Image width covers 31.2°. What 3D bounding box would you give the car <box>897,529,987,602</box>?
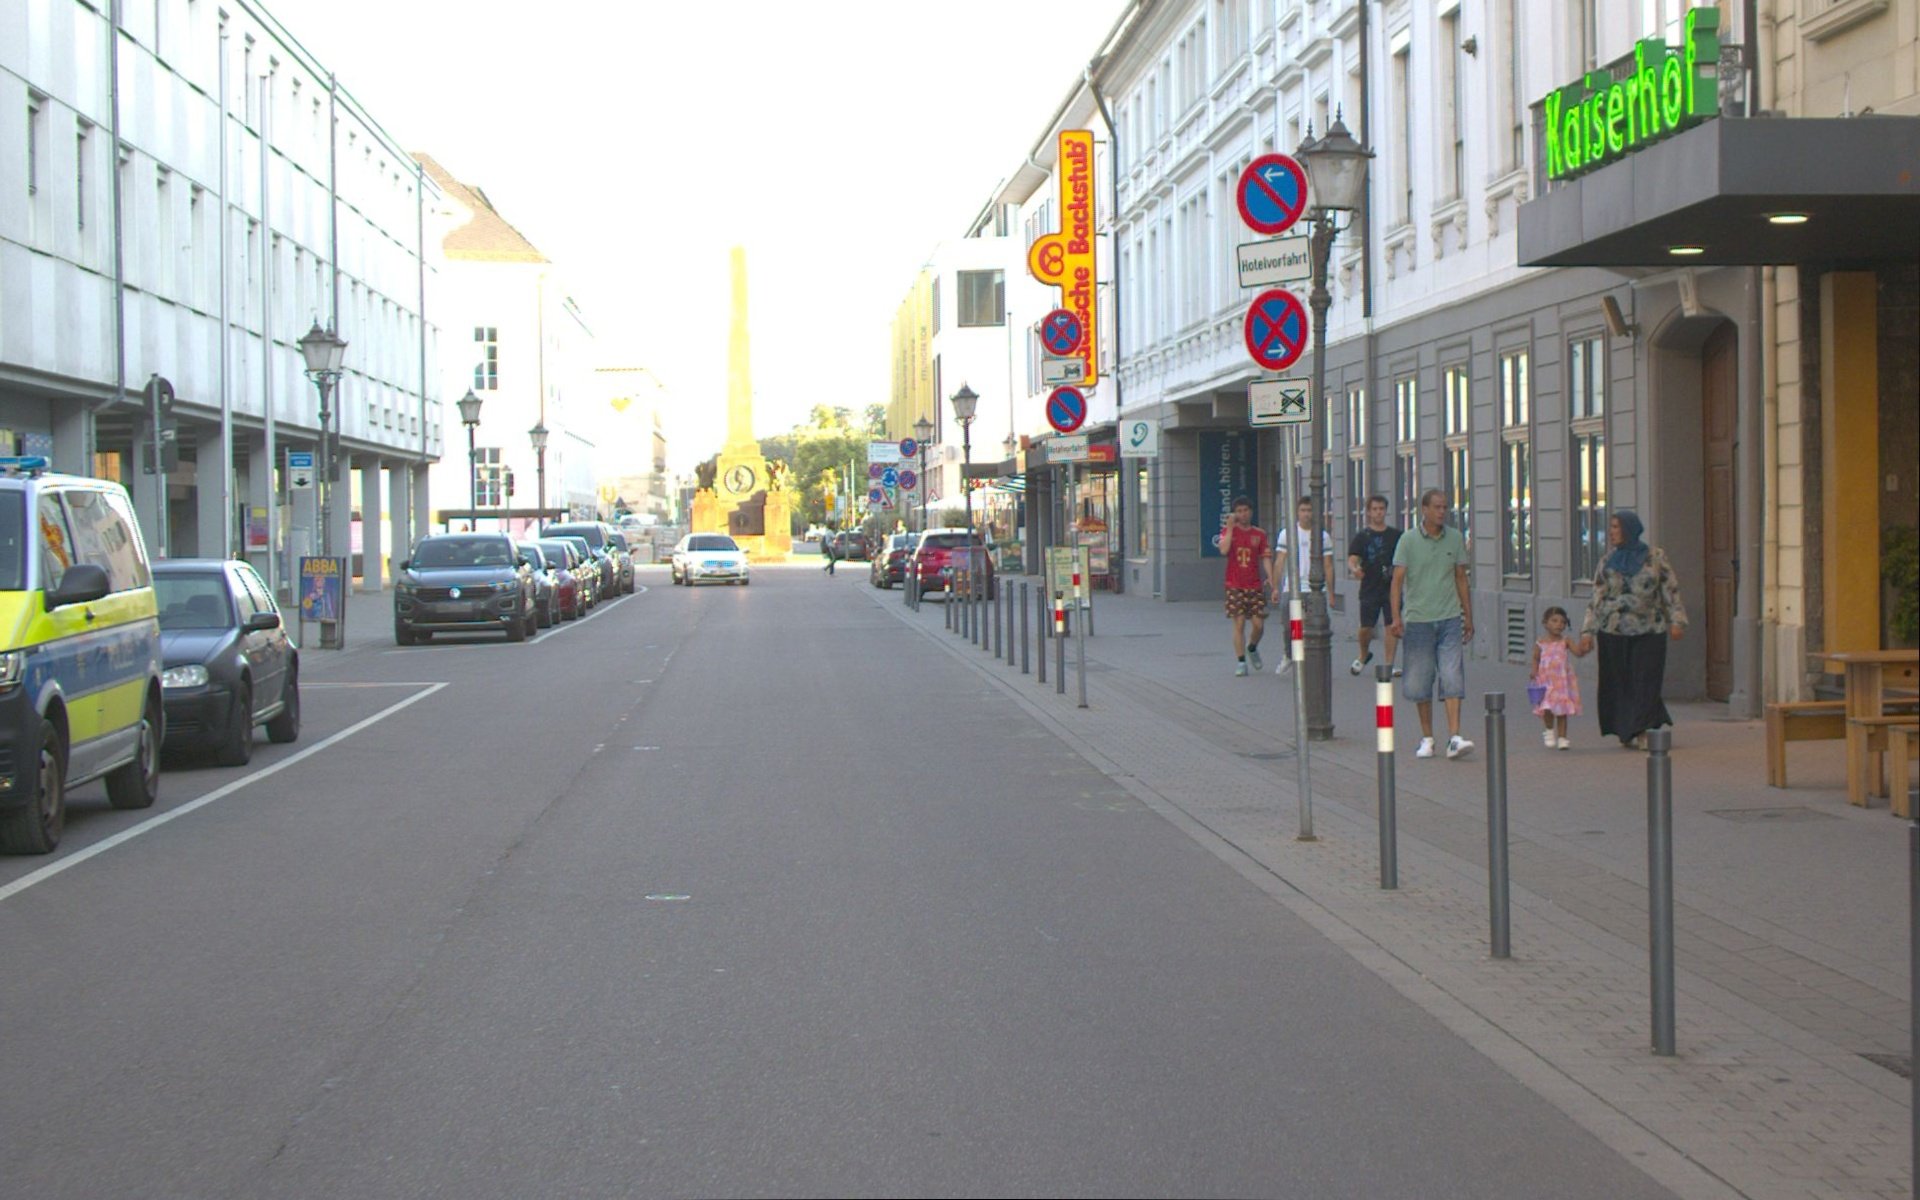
[{"bbox_3d":[-0.409,-0.755,73.735,1.759,1.518,3.678,-1,1,-3],"label":"car"}]

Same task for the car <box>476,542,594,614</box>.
[{"bbox_3d":[-8.367,-0.449,67.959,1.993,1.349,4.001,-1,1,-3],"label":"car"}]

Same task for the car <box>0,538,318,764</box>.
[{"bbox_3d":[-6.028,0.317,25.210,1.993,1.489,4.165,-1,1,-3],"label":"car"}]

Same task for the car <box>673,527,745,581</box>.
[{"bbox_3d":[-6.864,-1.276,94.357,1.785,1.404,4.089,-1,1,-2],"label":"car"}]

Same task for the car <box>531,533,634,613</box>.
[{"bbox_3d":[-8.653,-0.646,79.102,1.993,1.722,4.516,-2,1,-3],"label":"car"}]

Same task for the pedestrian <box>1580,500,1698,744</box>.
[{"bbox_3d":[4.517,0.140,22.881,0.630,1.595,0.615,-1,1,-2],"label":"pedestrian"}]

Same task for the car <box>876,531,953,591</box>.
[{"bbox_3d":[-1.174,-1.015,87.424,1.801,1.459,4.118,-1,1,-3],"label":"car"}]

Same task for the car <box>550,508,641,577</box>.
[{"bbox_3d":[-9.043,-1.445,85.567,1.993,1.656,4.001,-1,1,-3],"label":"car"}]

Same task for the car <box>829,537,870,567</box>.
[{"bbox_3d":[-5.432,-2.366,169.123,1.993,1.459,4.000,-1,1,-2],"label":"car"}]

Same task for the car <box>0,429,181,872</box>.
[{"bbox_3d":[-5.568,0.234,18.501,1.993,2.070,4.991,-1,1,-5],"label":"car"}]

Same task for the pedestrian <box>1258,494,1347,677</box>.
[{"bbox_3d":[3.292,-0.147,33.102,0.748,1.724,0.881,-1,1,0],"label":"pedestrian"}]

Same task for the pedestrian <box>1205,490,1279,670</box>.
[{"bbox_3d":[2.839,-0.211,34.615,0.620,1.783,0.913,-1,1,-2],"label":"pedestrian"}]

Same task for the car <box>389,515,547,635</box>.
[{"bbox_3d":[-7.015,-0.390,49.386,1.785,1.609,4.166,-1,1,-2],"label":"car"}]

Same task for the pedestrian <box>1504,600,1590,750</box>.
[{"bbox_3d":[3.939,0.495,23.087,0.459,0.976,0.558,-1,1,-2],"label":"pedestrian"}]

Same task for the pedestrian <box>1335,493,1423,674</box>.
[{"bbox_3d":[4.063,-0.169,33.388,0.713,1.724,0.873,-1,1,-1],"label":"pedestrian"}]

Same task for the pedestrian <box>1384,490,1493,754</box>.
[{"bbox_3d":[3.175,0.138,22.850,0.607,1.724,0.558,-1,1,-2],"label":"pedestrian"}]

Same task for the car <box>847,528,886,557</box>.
[{"bbox_3d":[-4.823,-2.968,177.621,1.993,1.459,4.000,-1,1,-2],"label":"car"}]
